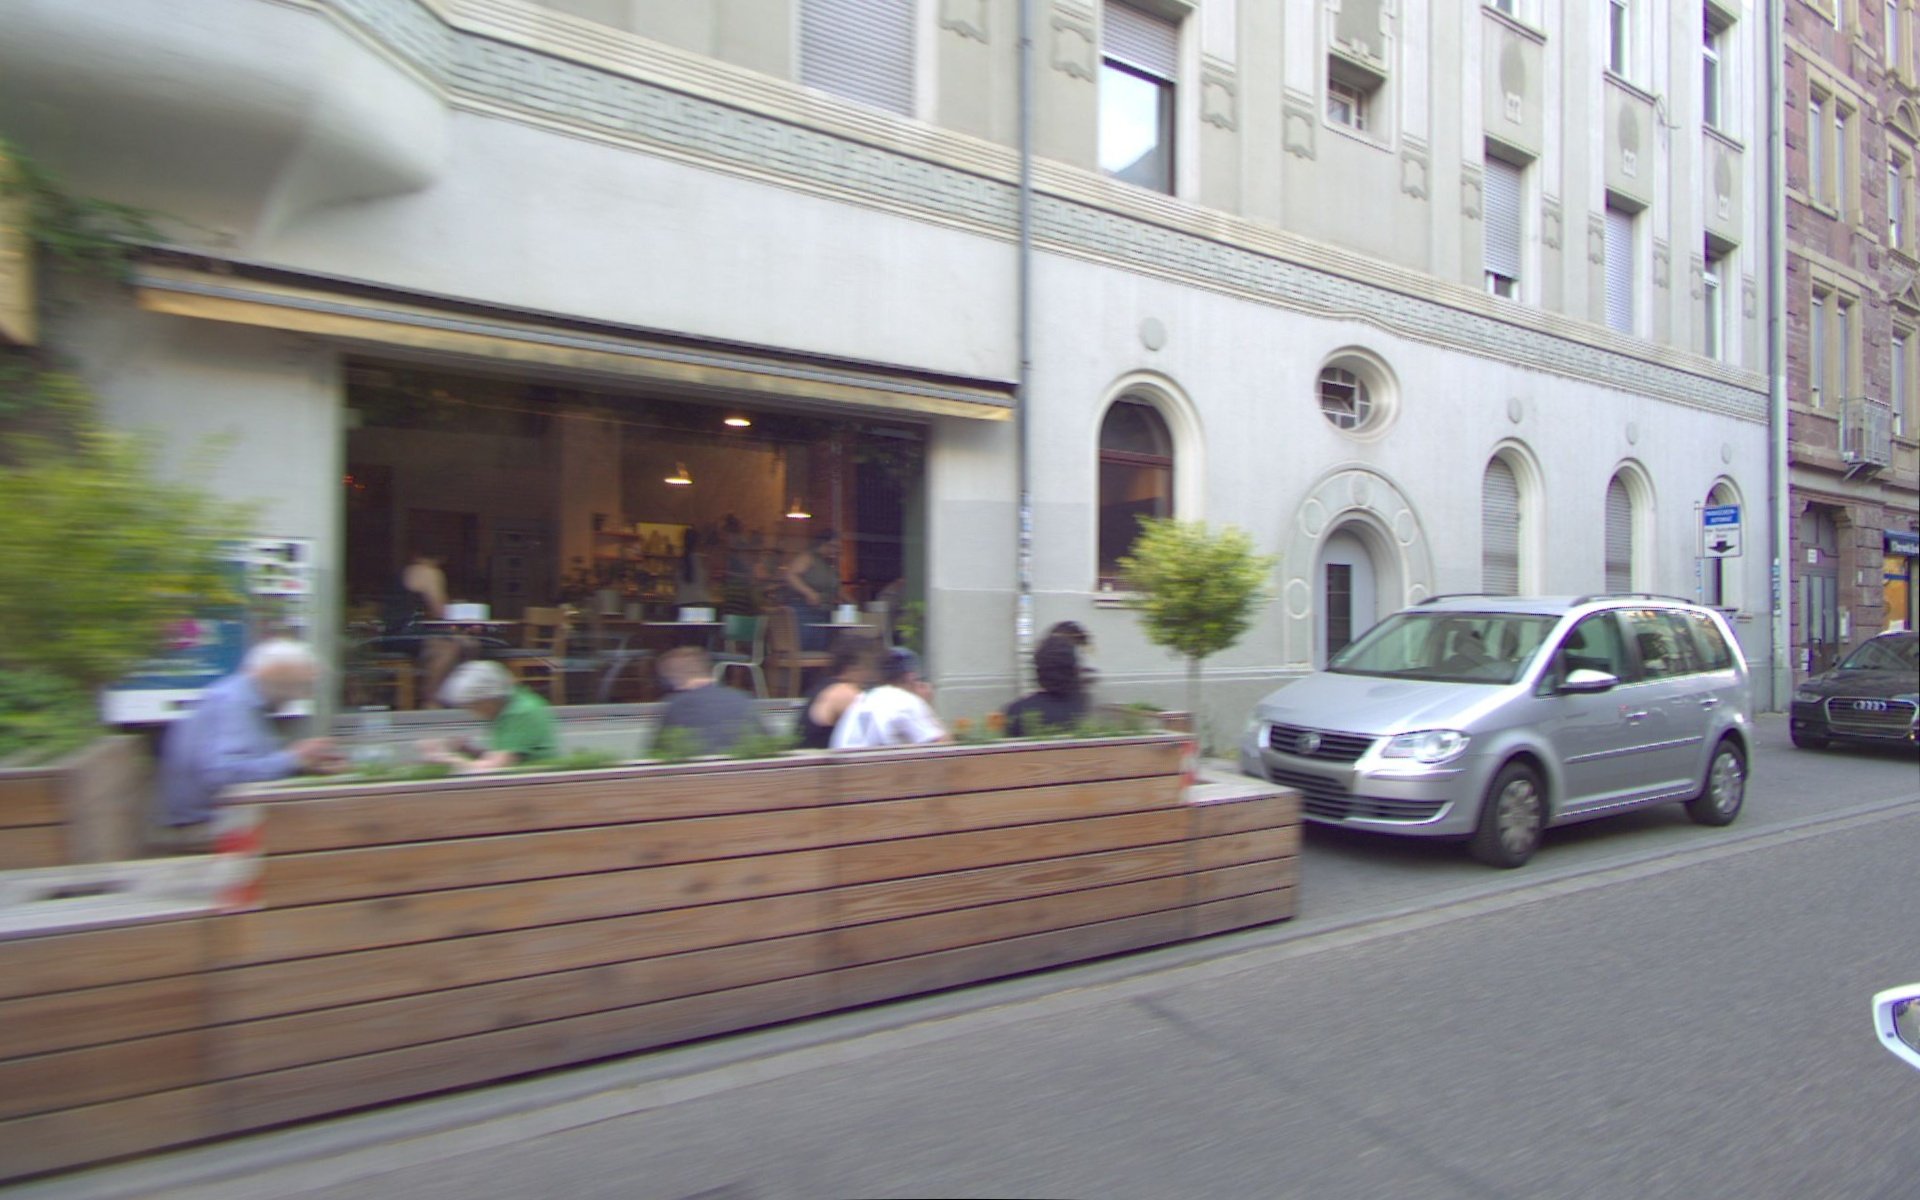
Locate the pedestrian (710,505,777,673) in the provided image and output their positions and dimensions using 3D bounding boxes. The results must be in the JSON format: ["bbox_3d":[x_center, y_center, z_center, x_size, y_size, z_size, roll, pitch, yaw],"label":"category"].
[{"bbox_3d":[-2.233,-0.102,10.353,0.512,1.676,0.536,1,-1,-30],"label":"pedestrian"}]

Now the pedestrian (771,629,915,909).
[{"bbox_3d":[-0.620,0.841,5.302,0.604,1.368,0.466,1,-1,-32],"label":"pedestrian"}]

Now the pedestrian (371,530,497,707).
[{"bbox_3d":[-3.702,0.130,7.066,0.739,1.169,0.554,1,-1,-32],"label":"pedestrian"}]

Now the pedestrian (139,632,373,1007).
[{"bbox_3d":[-2.781,0.804,4.036,0.696,1.342,0.534,1,-1,-30],"label":"pedestrian"}]

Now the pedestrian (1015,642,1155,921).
[{"bbox_3d":[0.663,0.918,5.359,0.534,1.368,0.514,1,-1,-33],"label":"pedestrian"}]

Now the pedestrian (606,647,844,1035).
[{"bbox_3d":[-0.940,0.869,3.998,0.762,1.342,0.606,1,-1,-32],"label":"pedestrian"}]

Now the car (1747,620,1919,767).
[{"bbox_3d":[11.542,1.013,12.007,4.482,1.491,1.902,1,-1,-31],"label":"car"}]

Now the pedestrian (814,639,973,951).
[{"bbox_3d":[-0.322,0.877,4.815,0.604,1.368,0.466,1,-1,-32],"label":"pedestrian"}]

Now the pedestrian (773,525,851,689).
[{"bbox_3d":[-1.296,0.064,8.773,0.512,1.368,0.536,1,-1,-30],"label":"pedestrian"}]

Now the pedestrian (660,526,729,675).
[{"bbox_3d":[-2.603,0.014,9.829,0.512,1.401,0.536,1,-1,-30],"label":"pedestrian"}]

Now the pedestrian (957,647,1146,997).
[{"bbox_3d":[0.396,0.898,4.375,0.661,1.368,0.481,1,-1,-32],"label":"pedestrian"}]

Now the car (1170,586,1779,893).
[{"bbox_3d":[3.798,0.759,7.265,4.265,1.613,1.983,1,0,-31],"label":"car"}]

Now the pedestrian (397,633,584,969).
[{"bbox_3d":[-2.085,0.821,4.455,0.696,1.342,0.534,1,-1,-30],"label":"pedestrian"}]

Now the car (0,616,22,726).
[{"bbox_3d":[-14.278,0.971,13.298,1.720,1.639,4.118,4,-3,-30],"label":"car"}]
